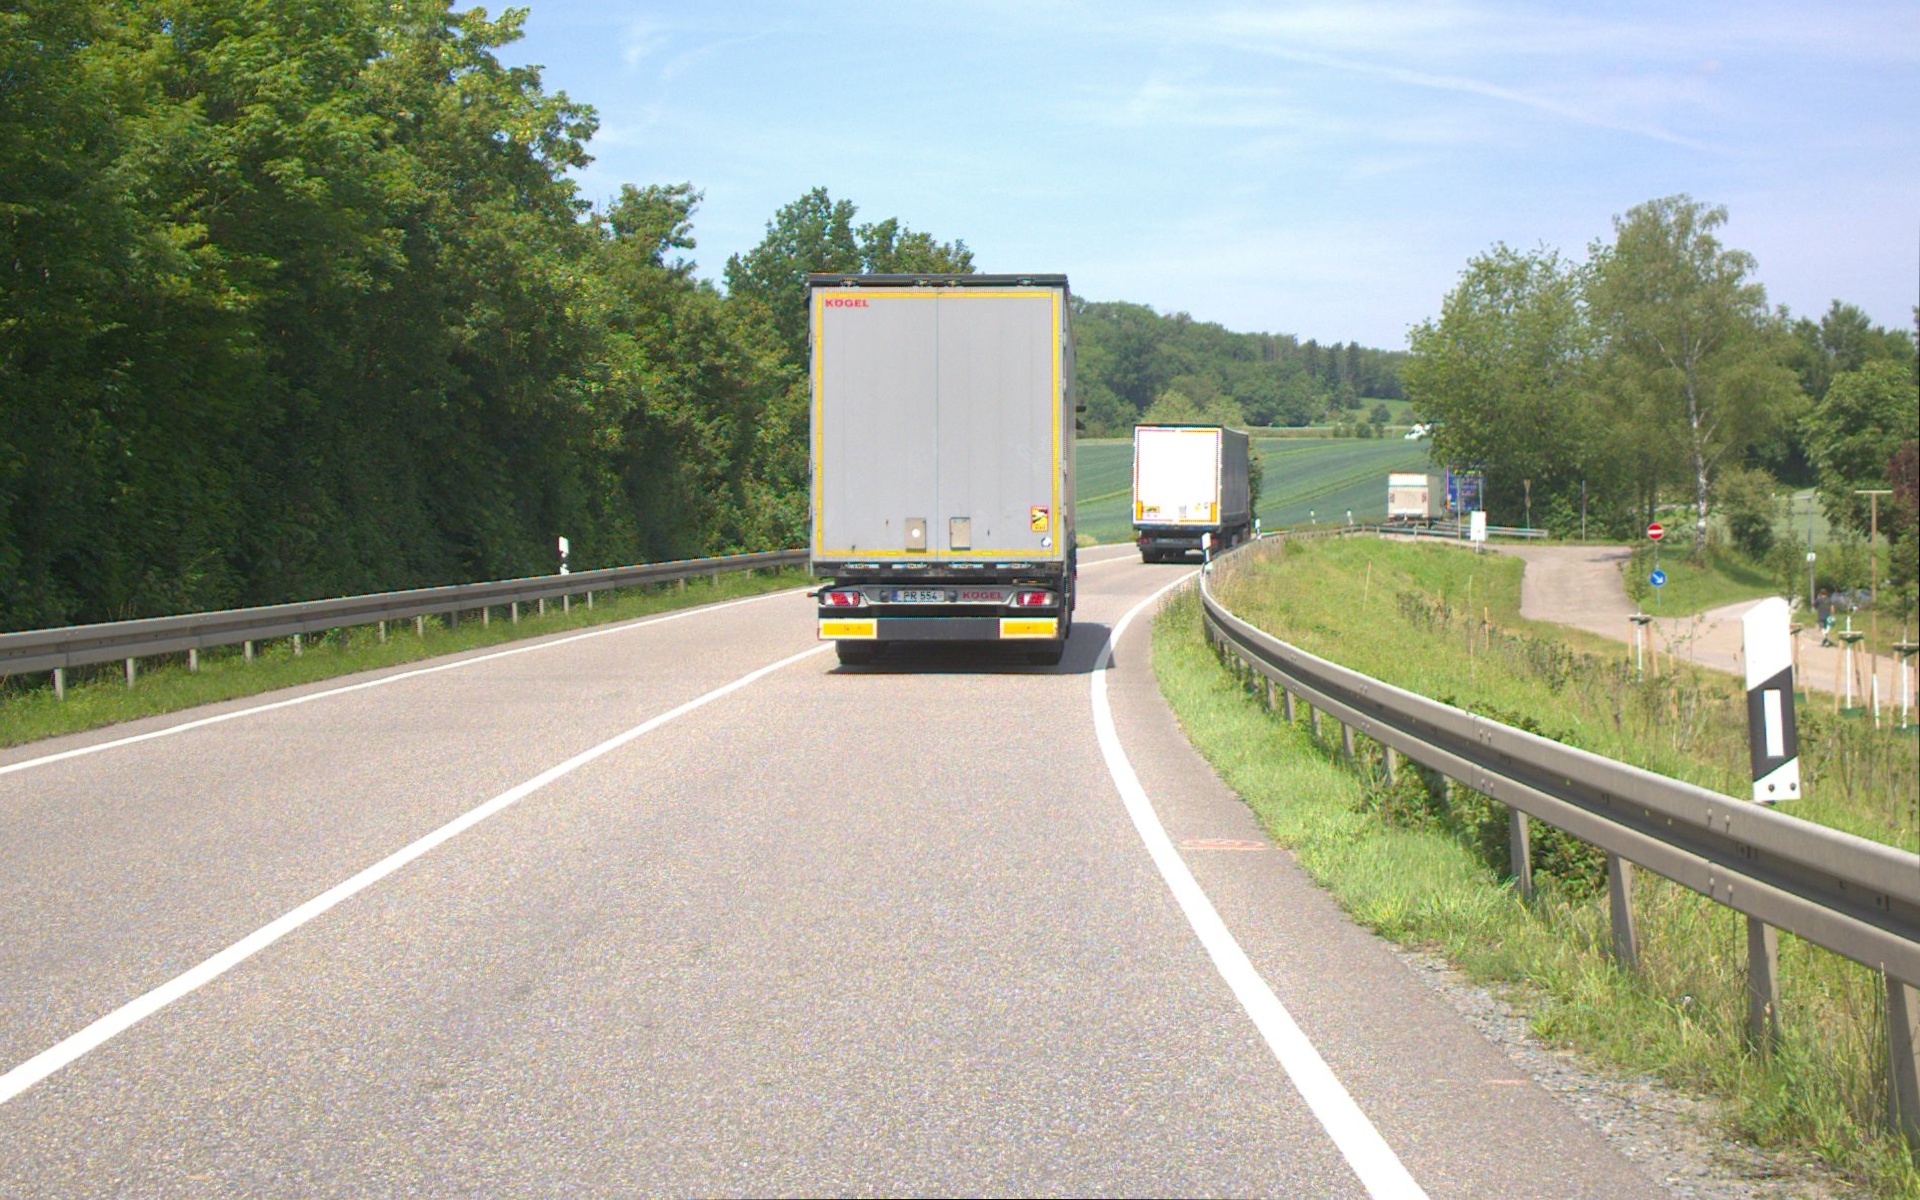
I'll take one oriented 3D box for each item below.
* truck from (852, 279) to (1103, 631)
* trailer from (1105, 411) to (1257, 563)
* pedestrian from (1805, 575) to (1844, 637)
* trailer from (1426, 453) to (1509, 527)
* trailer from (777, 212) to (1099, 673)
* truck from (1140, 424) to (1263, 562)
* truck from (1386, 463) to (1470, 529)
[{"bbox_3d":[0.361,-1.951,47.377,3.118,4.479,6.811,0,2,3],"label":"truck"},{"bbox_3d":[6.869,-3.295,104.528,3.366,4.302,13.859,0,1,9],"label":"trailer"},{"bbox_3d":[26.222,0.176,104.316,0.885,1.804,0.959,-3,2,1],"label":"pedestrian"},{"bbox_3d":[30.767,-6.605,208.084,3.650,4.248,12.187,0,1,15],"label":"trailer"},{"bbox_3d":[0.041,-1.735,40.509,3.118,4.484,13.886,0,2,2],"label":"trailer"},{"bbox_3d":[7.838,-3.375,110.798,3.366,4.302,6.738,0,1,9],"label":"truck"},{"bbox_3d":[25.504,-5.573,186.901,3.225,3.354,11.867,0,1,14],"label":"truck"}]
